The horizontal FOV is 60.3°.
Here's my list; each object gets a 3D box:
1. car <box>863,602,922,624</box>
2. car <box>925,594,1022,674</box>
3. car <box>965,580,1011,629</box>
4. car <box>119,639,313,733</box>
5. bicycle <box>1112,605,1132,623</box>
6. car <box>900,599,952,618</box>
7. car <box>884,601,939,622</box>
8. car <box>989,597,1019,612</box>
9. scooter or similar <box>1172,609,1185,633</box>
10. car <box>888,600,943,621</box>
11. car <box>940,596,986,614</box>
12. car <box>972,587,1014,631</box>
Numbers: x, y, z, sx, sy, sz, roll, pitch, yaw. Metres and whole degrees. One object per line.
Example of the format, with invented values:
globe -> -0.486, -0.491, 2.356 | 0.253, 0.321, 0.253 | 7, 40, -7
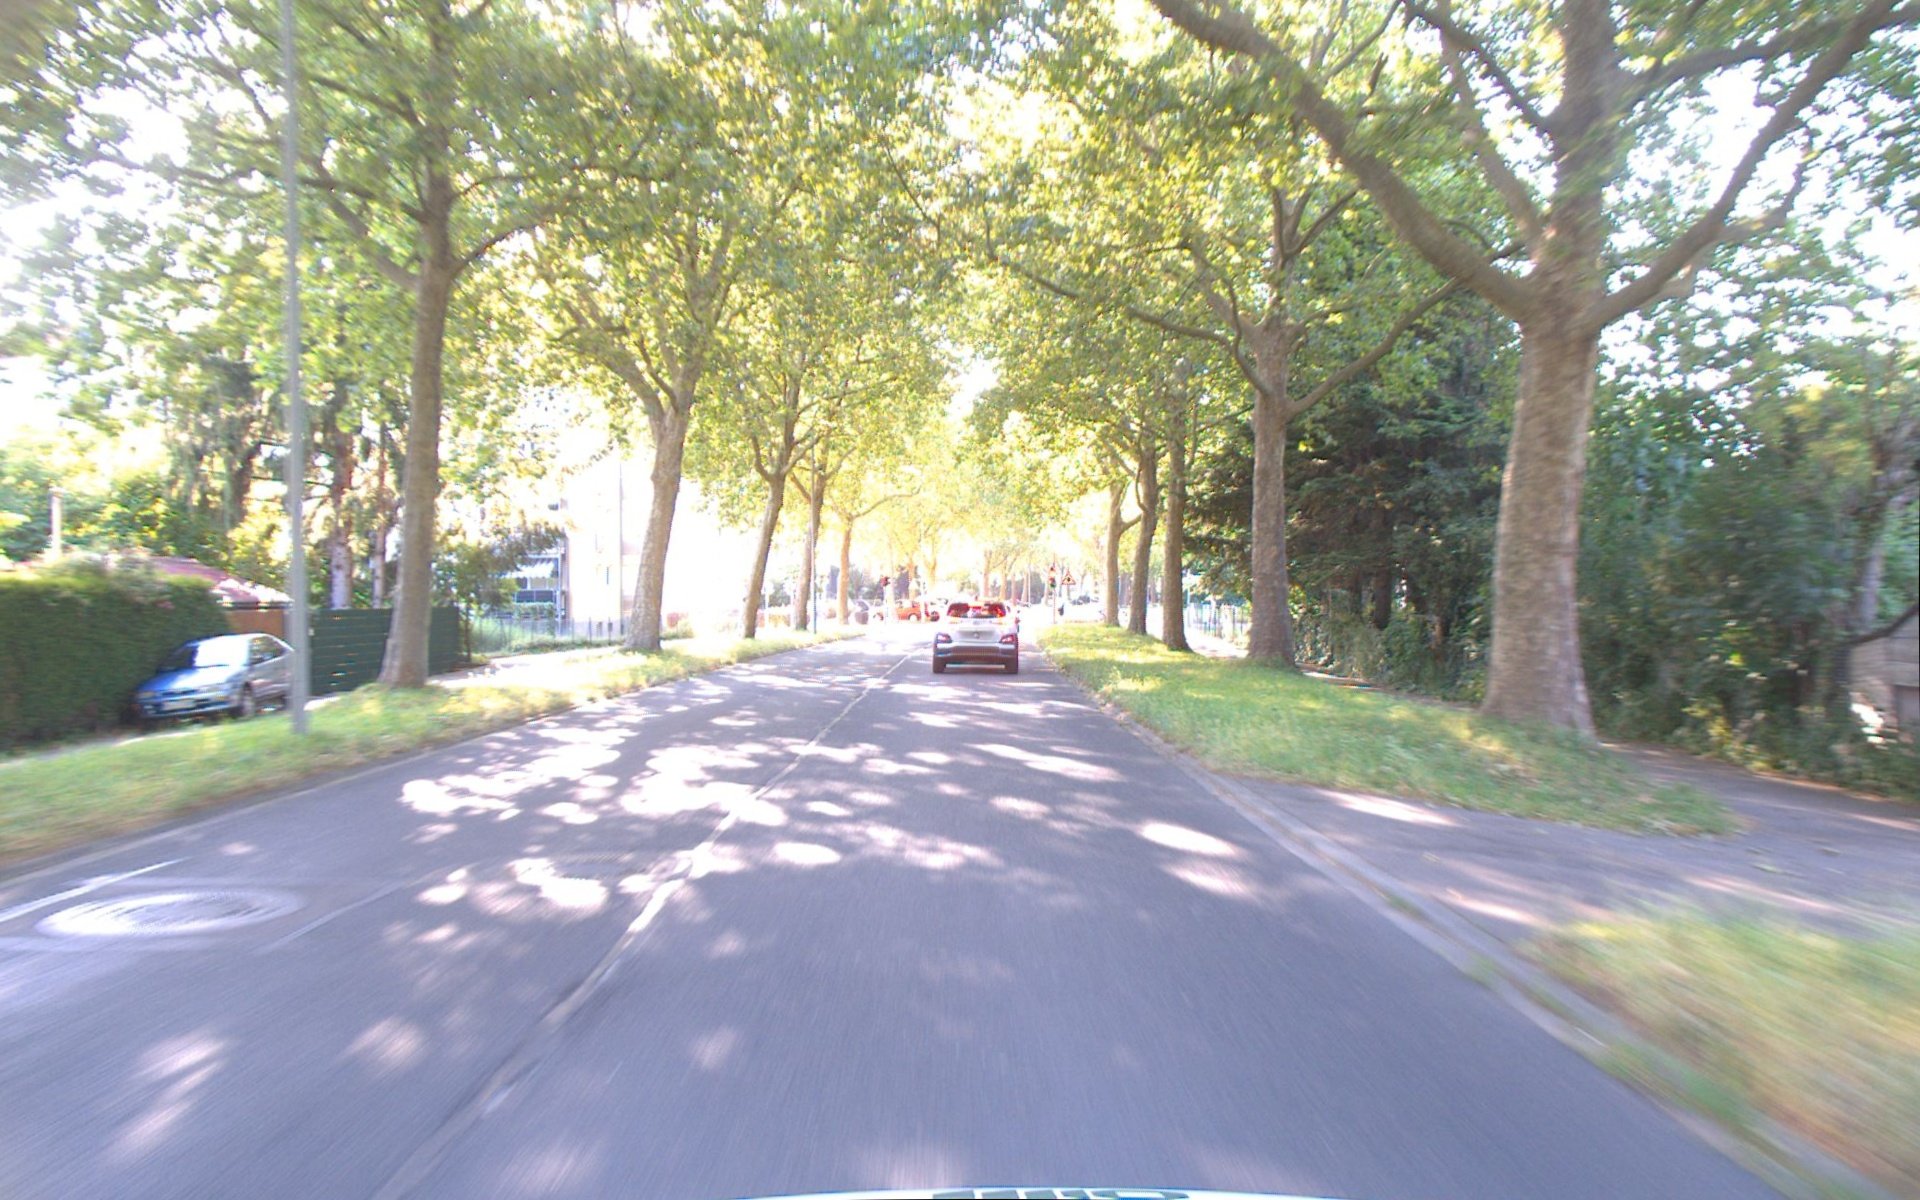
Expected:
car -> -4.722, 0.896, 115.931 | 3.903, 1.504, 2.001 | 1, -1, 3
car -> 0.309, 0.717, 35.636 | 1.952, 1.602, 4.000 | 1, -1, 1
car -> 1.233, 0.227, 72.161 | 1.952, 2.049, 4.000 | 1, -1, 1
car -> -12.742, 1.426, 28.595 | 1.717, 1.327, 3.998 | -1, 1, -3
bicycle -> 10.734, 0.923, 109.473 | 0.593, 1.204, 2.109 | 1, -1, -16
car -> -2.658, 0.676, 130.763 | 3.903, 1.504, 2.001 | 1, -1, 3
car -> -3.588, 0.889, 123.288 | 3.903, 1.504, 2.001 | 1, -1, 3
car -> 5.496, 0.529, 206.973 | 3.599, 1.840, 1.746 | 1, 0, -7
scooter or similar -> 11.972, 1.155, 90.535 | 0.538, 1.280, 2.314 | 1, -1, 4
car -> -3.386, 0.782, 125.762 | 3.902, 1.504, 2.001 | 1, -1, 6
car -> 0.287, 0.442, 145.120 | 3.903, 1.504, 2.001 | 1, -1, 3
car -> 1.597, 0.462, 79.786 | 1.952, 2.049, 4.000 | 1, -1, 1
